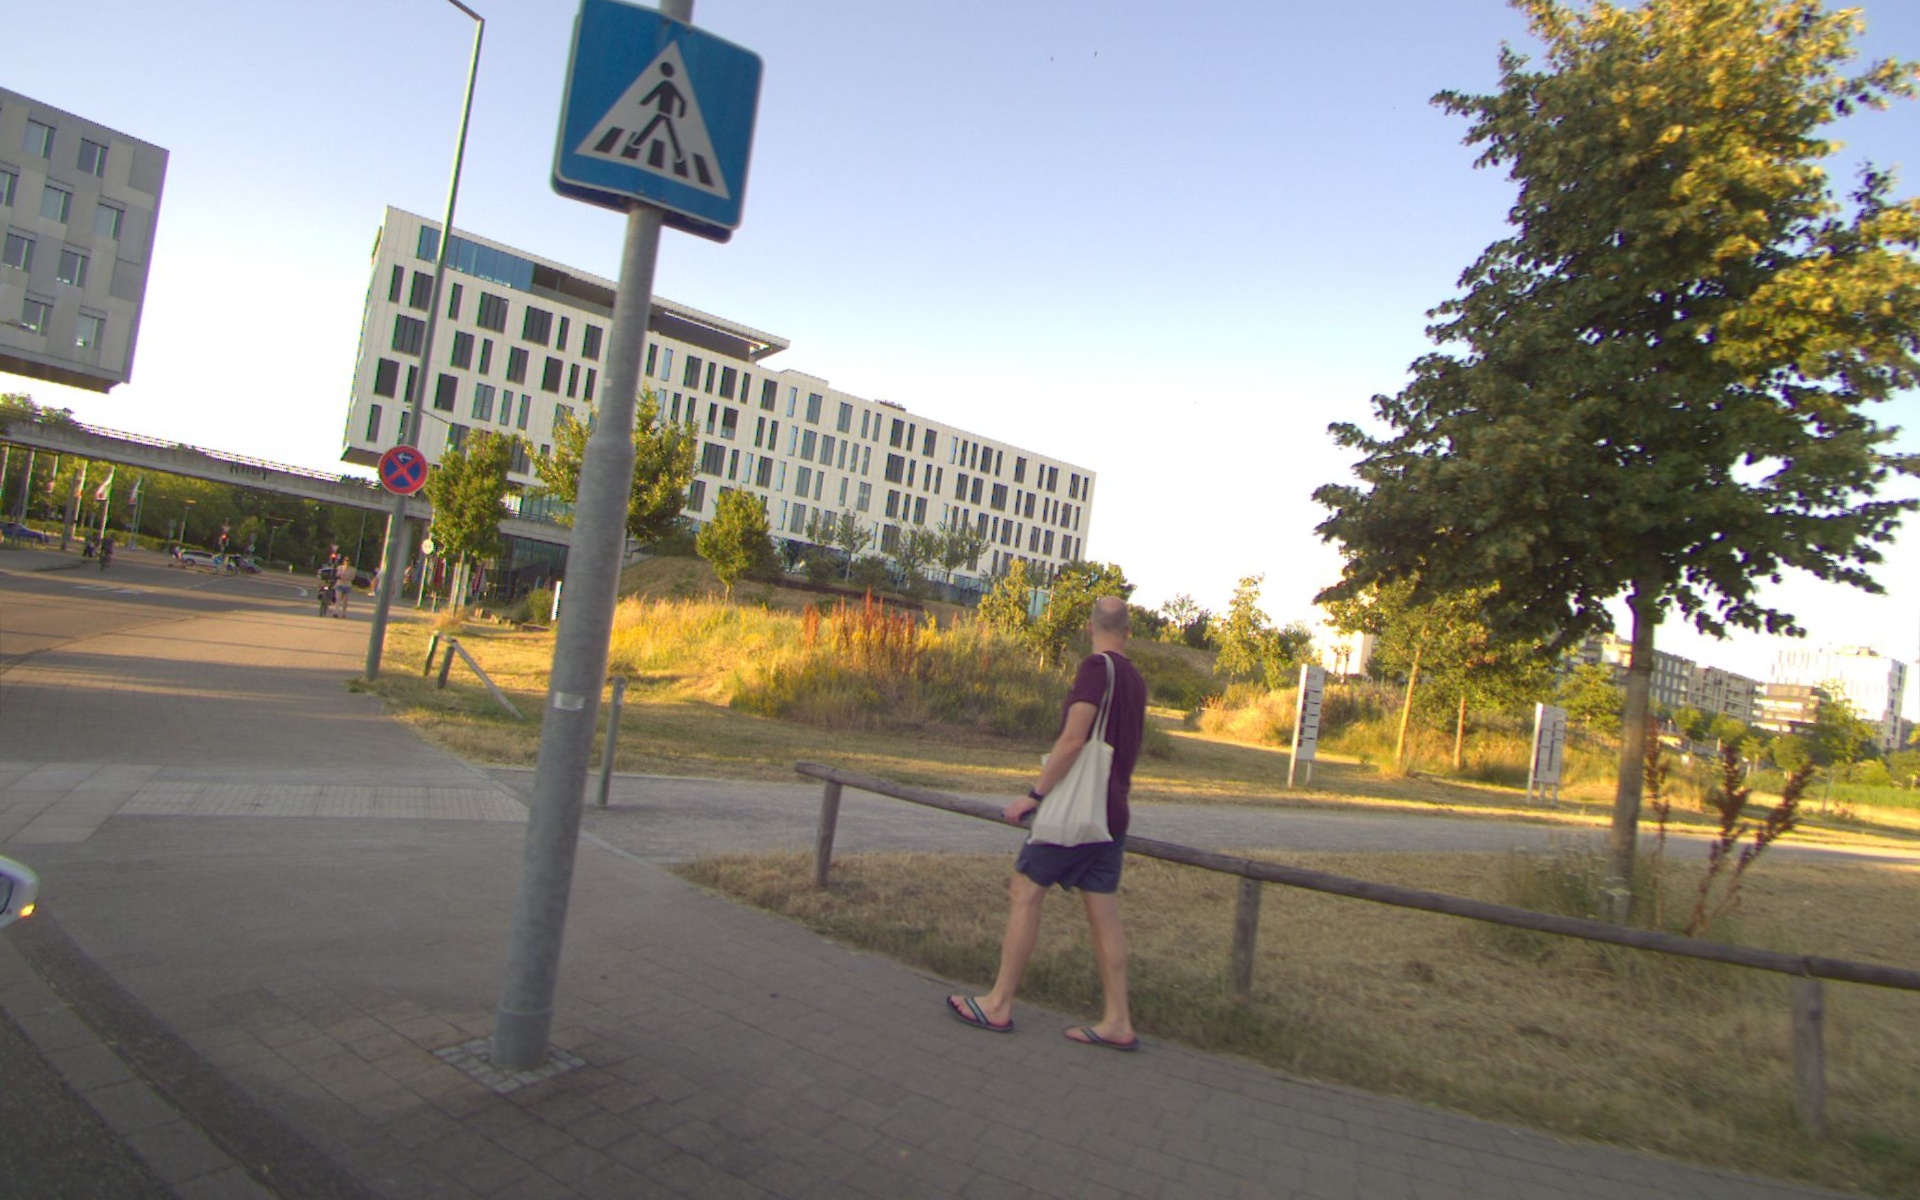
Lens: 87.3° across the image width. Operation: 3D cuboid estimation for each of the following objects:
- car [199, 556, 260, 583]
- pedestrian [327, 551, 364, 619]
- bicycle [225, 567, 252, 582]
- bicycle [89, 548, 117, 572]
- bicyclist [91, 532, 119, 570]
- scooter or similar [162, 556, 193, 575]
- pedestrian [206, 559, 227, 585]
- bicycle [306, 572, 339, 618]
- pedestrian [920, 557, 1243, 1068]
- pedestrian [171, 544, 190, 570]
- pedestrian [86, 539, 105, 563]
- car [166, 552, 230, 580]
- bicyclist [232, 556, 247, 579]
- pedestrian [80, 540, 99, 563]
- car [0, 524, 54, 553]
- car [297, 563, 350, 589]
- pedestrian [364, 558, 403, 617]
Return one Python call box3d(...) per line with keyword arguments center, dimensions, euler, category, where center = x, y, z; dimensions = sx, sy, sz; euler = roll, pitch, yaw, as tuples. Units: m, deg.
box3d(center=(-69.291, -2.875, 95.491), dimensions=(4.389, 1.819, 1.819), euler=(10, -2, -33), category="car")
box3d(center=(-17.320, -0.421, 28.369), dimensions=(0.590, 1.822, 0.812), euler=(9, -1, -26), category="pedestrian")
box3d(center=(-60.204, -2.092, 83.984), dimensions=(1.683, 0.959, 0.507), euler=(10, -2, -32), category="bicycle")
box3d(center=(-40.750, -1.911, 47.852), dimensions=(0.534, 1.055, 1.911), euler=(9, -2, -28), category="bicycle")
box3d(center=(-40.687, -2.333, 47.859), dimensions=(0.610, 1.681, 1.029), euler=(9, -1, -29), category="bicyclist")
box3d(center=(-63.566, -2.821, 81.726), dimensions=(1.855, 1.187, 0.755), euler=(11, -2, -42), category="scooter or similar")
box3d(center=(-59.941, -2.252, 81.099), dimensions=(0.883, 1.855, 1.053), euler=(7, -2, 43), category="pedestrian")
box3d(center=(-17.826, -0.160, 28.155), dimensions=(0.446, 1.182, 1.928), euler=(9, -2, -27), category="bicycle")
box3d(center=(0.470, 0.785, 4.072), dimensions=(0.727, 1.804, 0.795), euler=(9, -1, -31), category="pedestrian")
box3d(center=(-63.403, -3.492, 81.809), dimensions=(0.906, 2.013, 0.762), euler=(9, -1, -42), category="pedestrian")
box3d(center=(-66.502, -3.757, 77.358), dimensions=(0.692, 1.683, 0.709), euler=(9, -1, -17), category="pedestrian")
box3d(center=(-69.111, -3.064, 91.360), dimensions=(4.393, 1.744, 1.817), euler=(10, -2, -36), category="car")
box3d(center=(-60.114, -2.713, 83.991), dimensions=(0.761, 1.724, 0.508), euler=(9, -1, -31), category="bicyclist")
box3d(center=(-66.268, -3.672, 76.606), dimensions=(0.678, 1.642, 0.709), euler=(9, -1, -17), category="pedestrian")
box3d(center=(-78.677, -5.232, 83.706), dimensions=(4.704, 1.848, 1.869), euler=(11, -3, -43), category="car")
box3d(center=(-64.710, -2.445, 102.311), dimensions=(4.389, 1.819, 1.819), euler=(10, -2, -33), category="car")
box3d(center=(-18.540, -0.405, 32.369), dimensions=(0.825, 1.786, 0.812), euler=(9, -1, -27), category="pedestrian")
